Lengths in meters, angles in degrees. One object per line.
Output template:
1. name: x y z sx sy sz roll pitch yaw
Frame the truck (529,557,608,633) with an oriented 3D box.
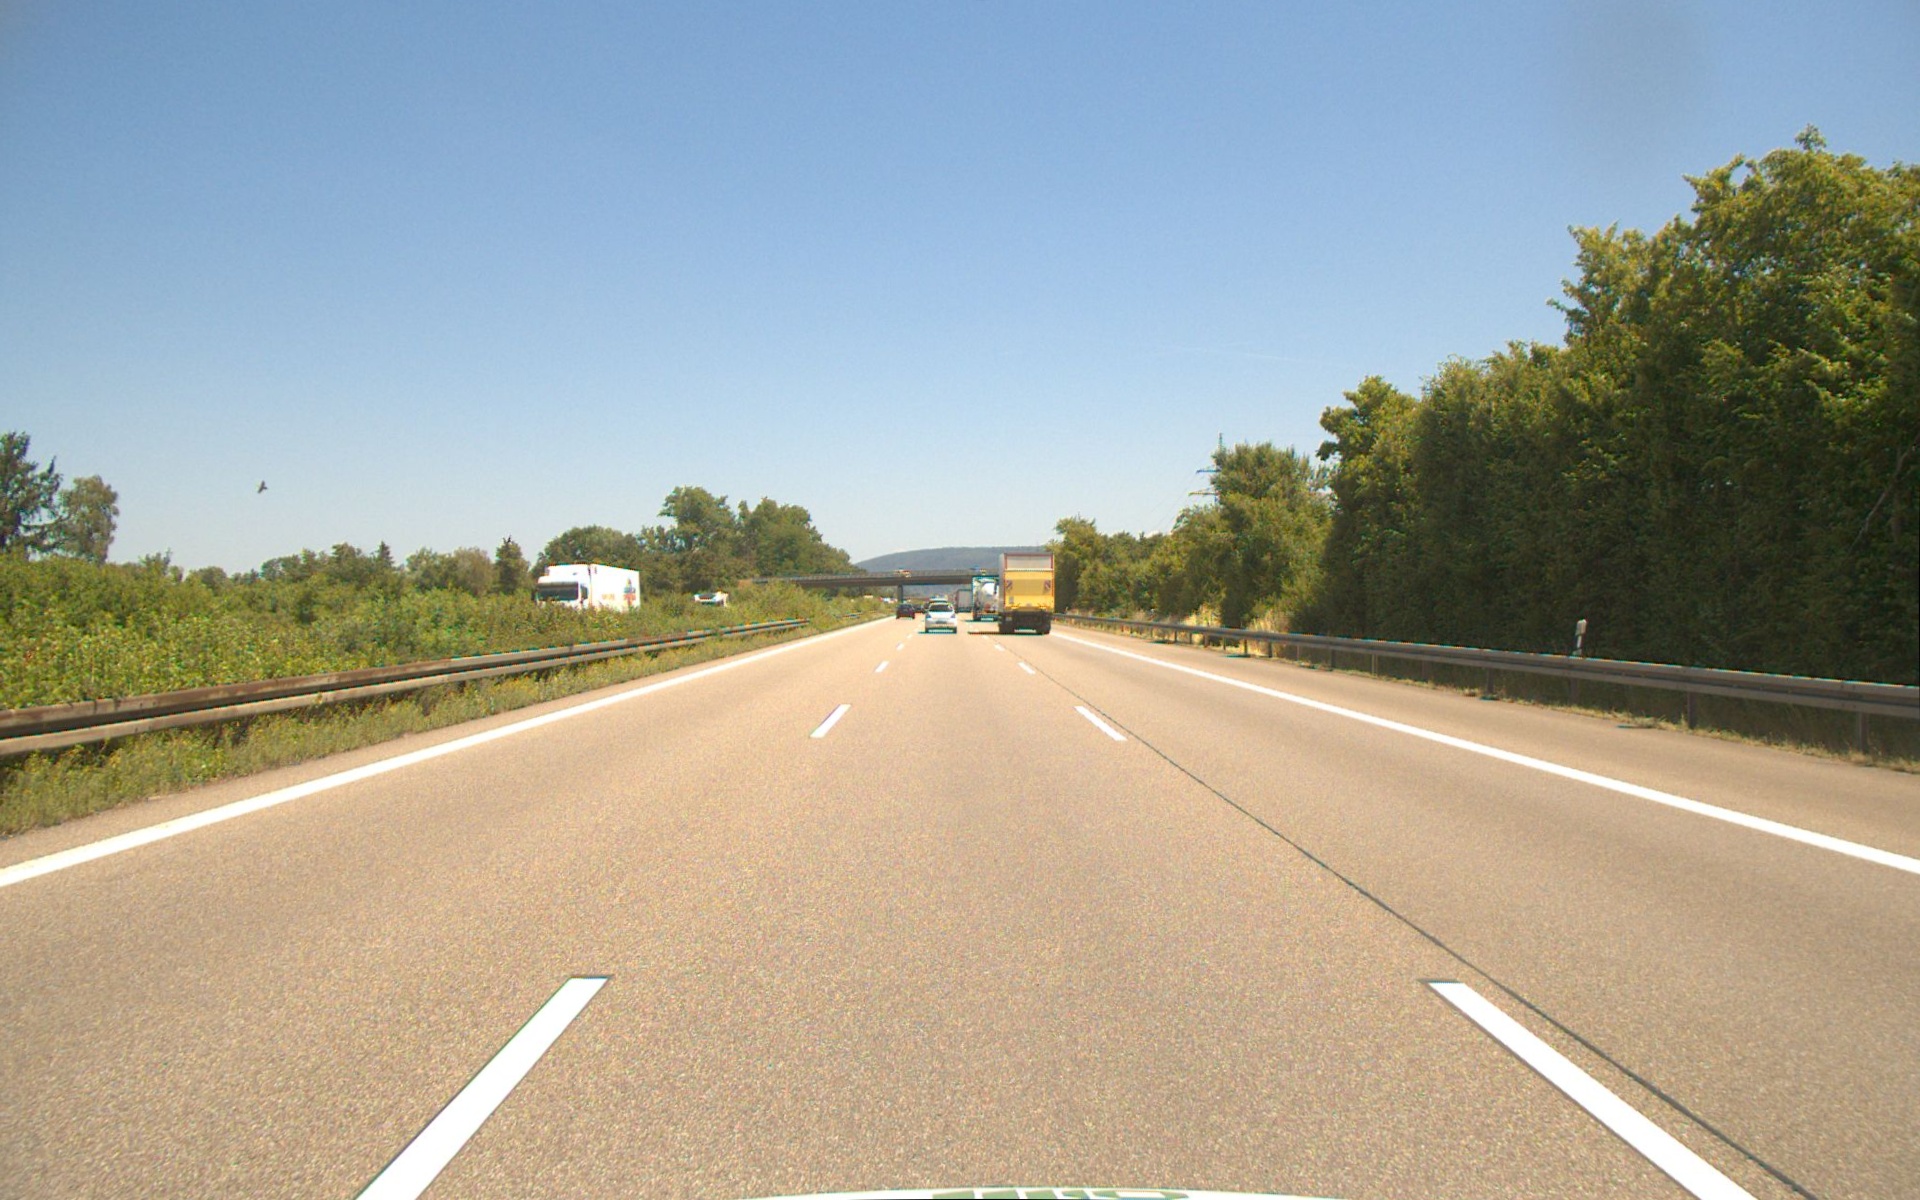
1. truck: -21.044 -0.256 89.166 2.874 3.937 5.750 1 0 -1

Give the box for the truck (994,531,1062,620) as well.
1. truck: 3.416 -1.192 86.232 2.874 4.273 10.679 1 0 -1

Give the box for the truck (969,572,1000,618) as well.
1. truck: 2.228 -0.446 151.719 2.521 4.143 6.391 1 0 -1

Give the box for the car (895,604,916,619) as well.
1. car: -5.210 1.087 158.314 1.798 1.411 3.999 1 0 -1

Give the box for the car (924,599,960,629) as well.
1. car: -0.925 0.724 85.520 1.770 1.494 3.999 1 0 -1

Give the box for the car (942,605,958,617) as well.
1. car: -1.216 1.271 193.897 1.798 1.411 3.999 1 0 -1

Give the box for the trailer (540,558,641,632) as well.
1. trailer: -21.154 -0.249 95.663 2.874 3.937 13.907 1 0 -1

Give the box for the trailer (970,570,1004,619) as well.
1. trailer: 2.327 -0.460 147.062 2.527 4.146 11.100 1 0 -1

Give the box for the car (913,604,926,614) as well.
1. car: -5.599 1.218 228.945 1.798 1.411 3.999 1 0 -1
